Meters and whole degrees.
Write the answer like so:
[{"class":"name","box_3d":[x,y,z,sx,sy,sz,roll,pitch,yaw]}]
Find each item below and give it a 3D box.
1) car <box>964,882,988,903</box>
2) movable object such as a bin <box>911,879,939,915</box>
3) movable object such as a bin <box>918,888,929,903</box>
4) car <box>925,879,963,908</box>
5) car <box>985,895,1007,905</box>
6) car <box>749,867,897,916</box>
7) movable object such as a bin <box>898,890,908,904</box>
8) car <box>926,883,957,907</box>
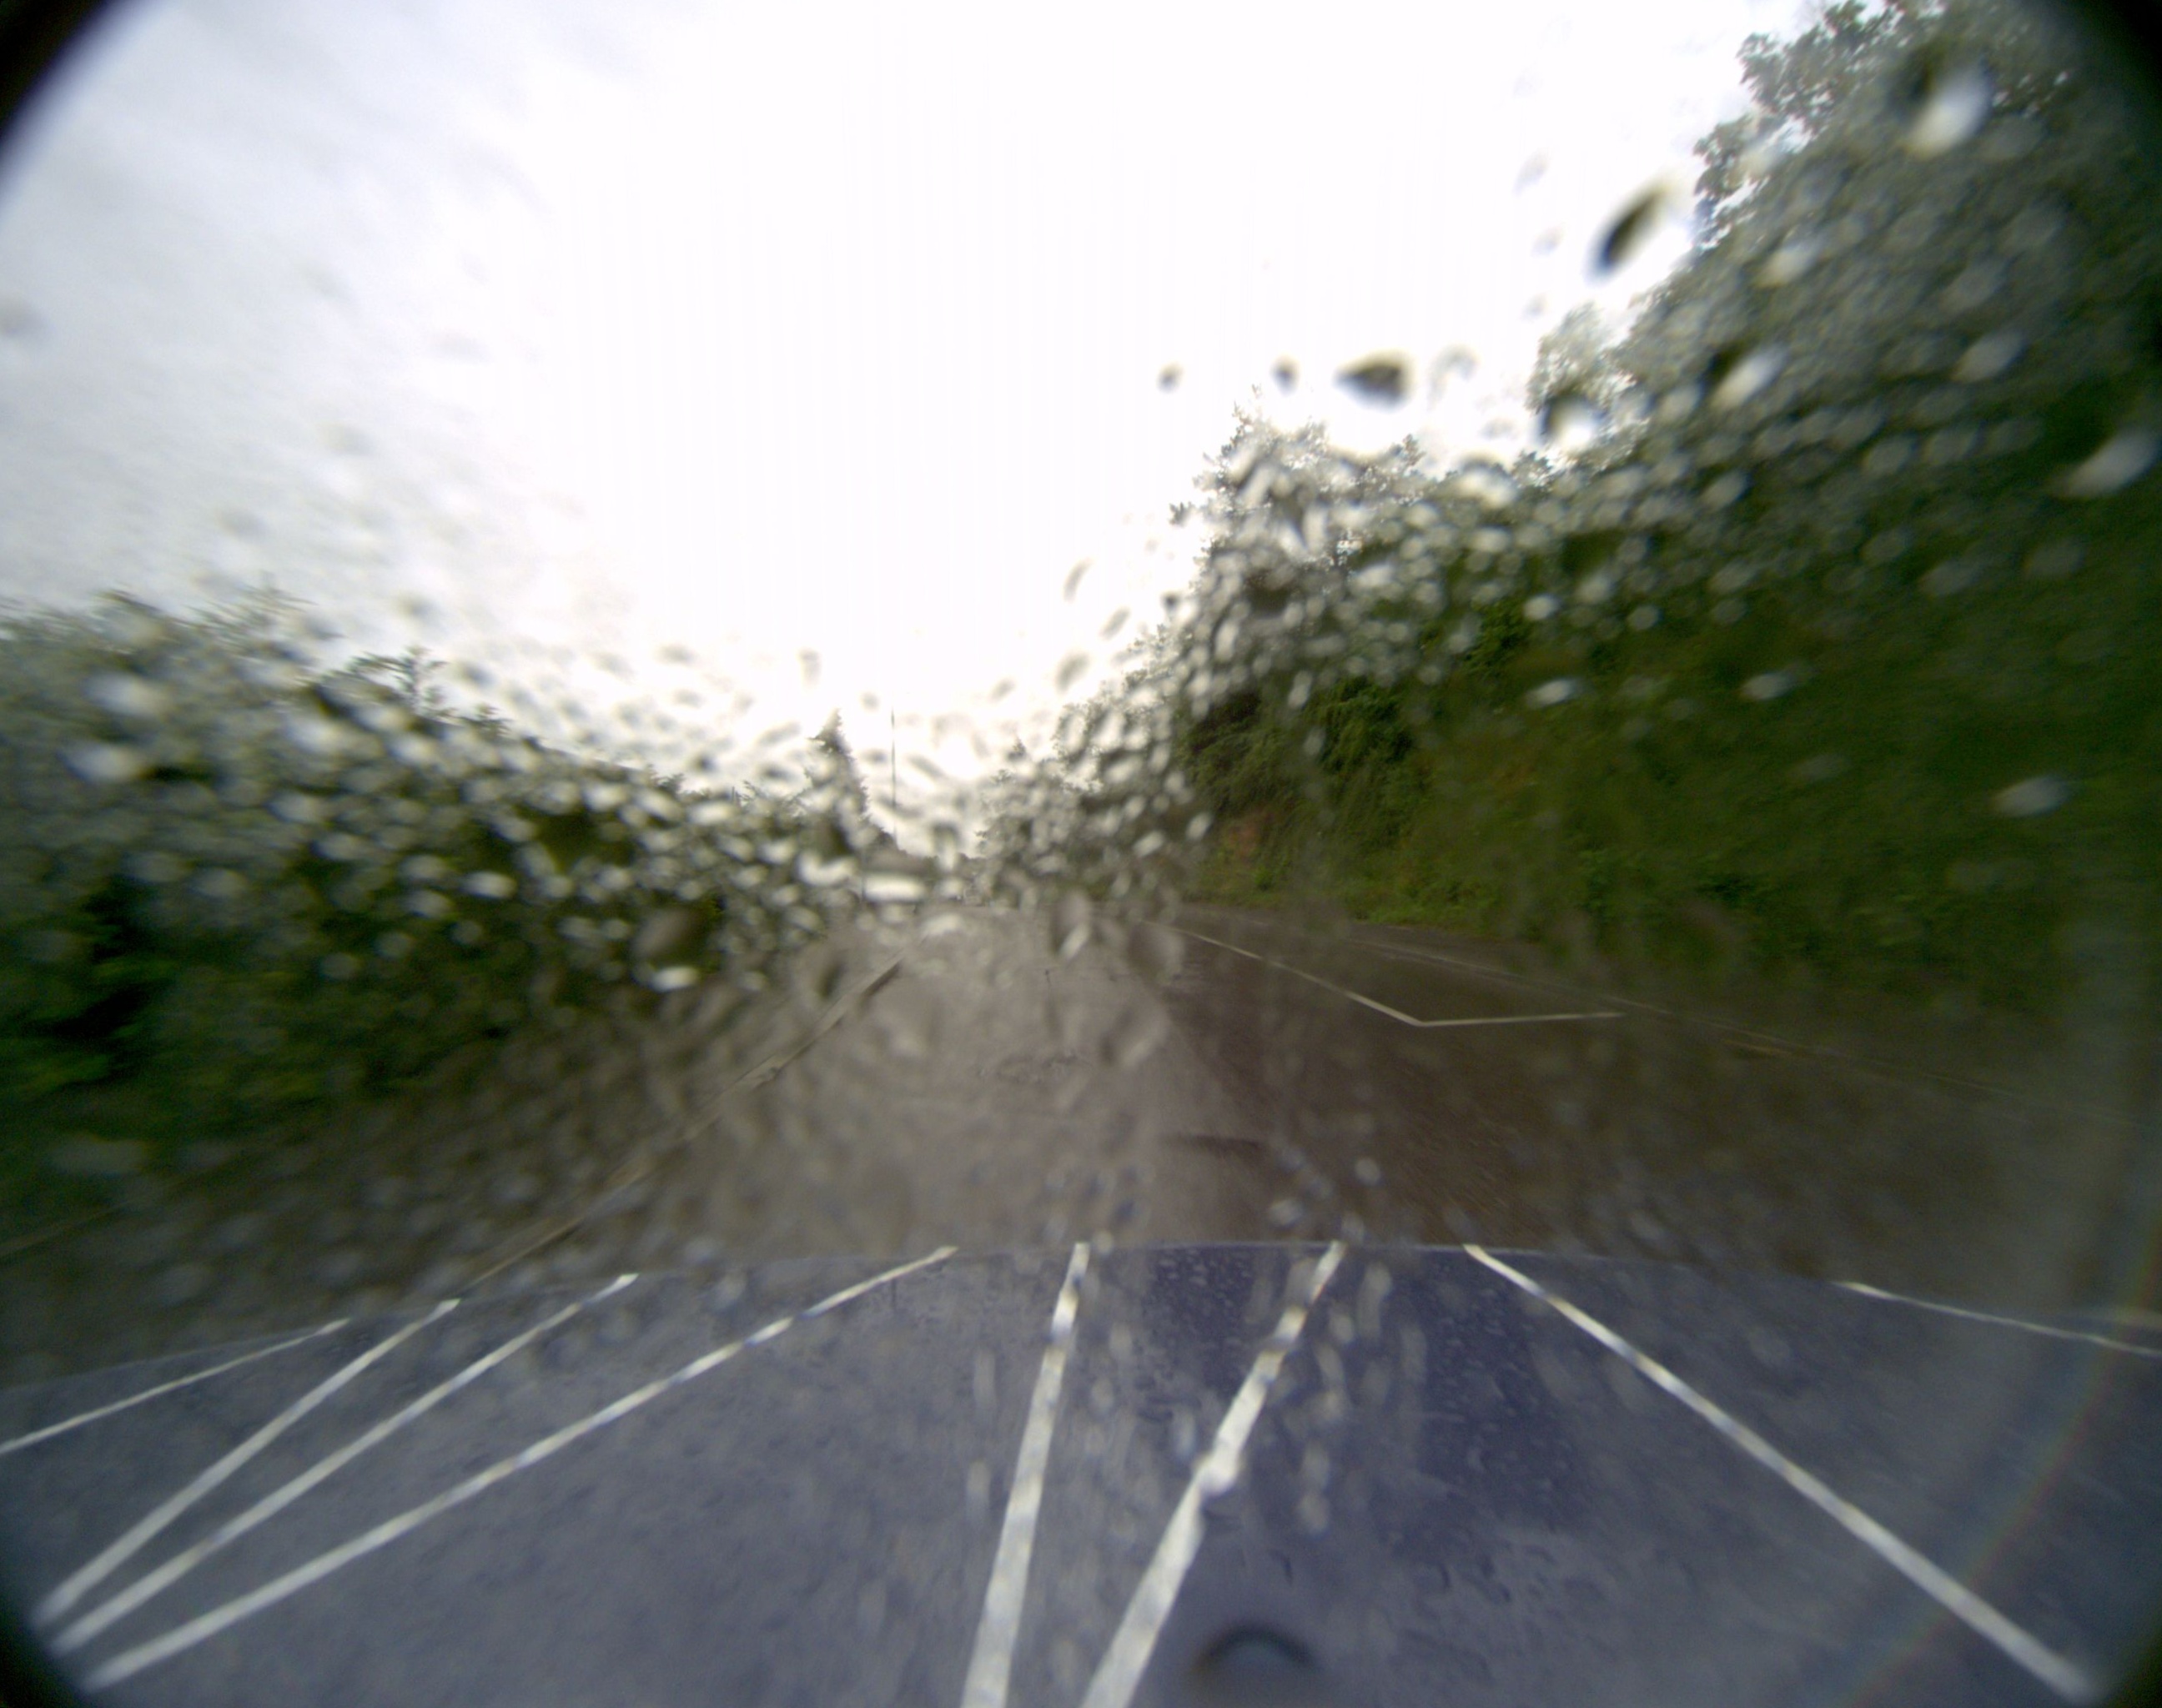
[{"class":"car","box_3d":[-10.771,3.987,77.663,2.119,1.961,5.171,0,-4,-11]},{"class":"movable object such as a bin","box_3d":[-4.836,1.326,23.548,0.792,1.089,0.675,3,-2,-11]},{"class":"movable object such as a bin","box_3d":[-11.729,3.107,56.410,0.731,1.071,0.660,-1,-3,-16]},{"class":"car","box_3d":[-8.190,2.399,45.162,1.882,1.581,4.477,-1,-4,-14]},{"class":"car","box_3d":[-13.267,7.131,119.013,1.797,1.459,4.224,-3,-4,19]},{"class":"car","box_3d":[-8.479,1.227,25.279,4.227,1.406,1.941,-2,-1,-1]},{"class":"movable object such as a bin","box_3d":[-14.409,3.480,61.459,0.741,1.081,0.600,1,-4,-11]},{"class":"car","box_3d":[-9.251,2.721,50.149,1.762,1.452,4.298,-1,-4,-14]}]
